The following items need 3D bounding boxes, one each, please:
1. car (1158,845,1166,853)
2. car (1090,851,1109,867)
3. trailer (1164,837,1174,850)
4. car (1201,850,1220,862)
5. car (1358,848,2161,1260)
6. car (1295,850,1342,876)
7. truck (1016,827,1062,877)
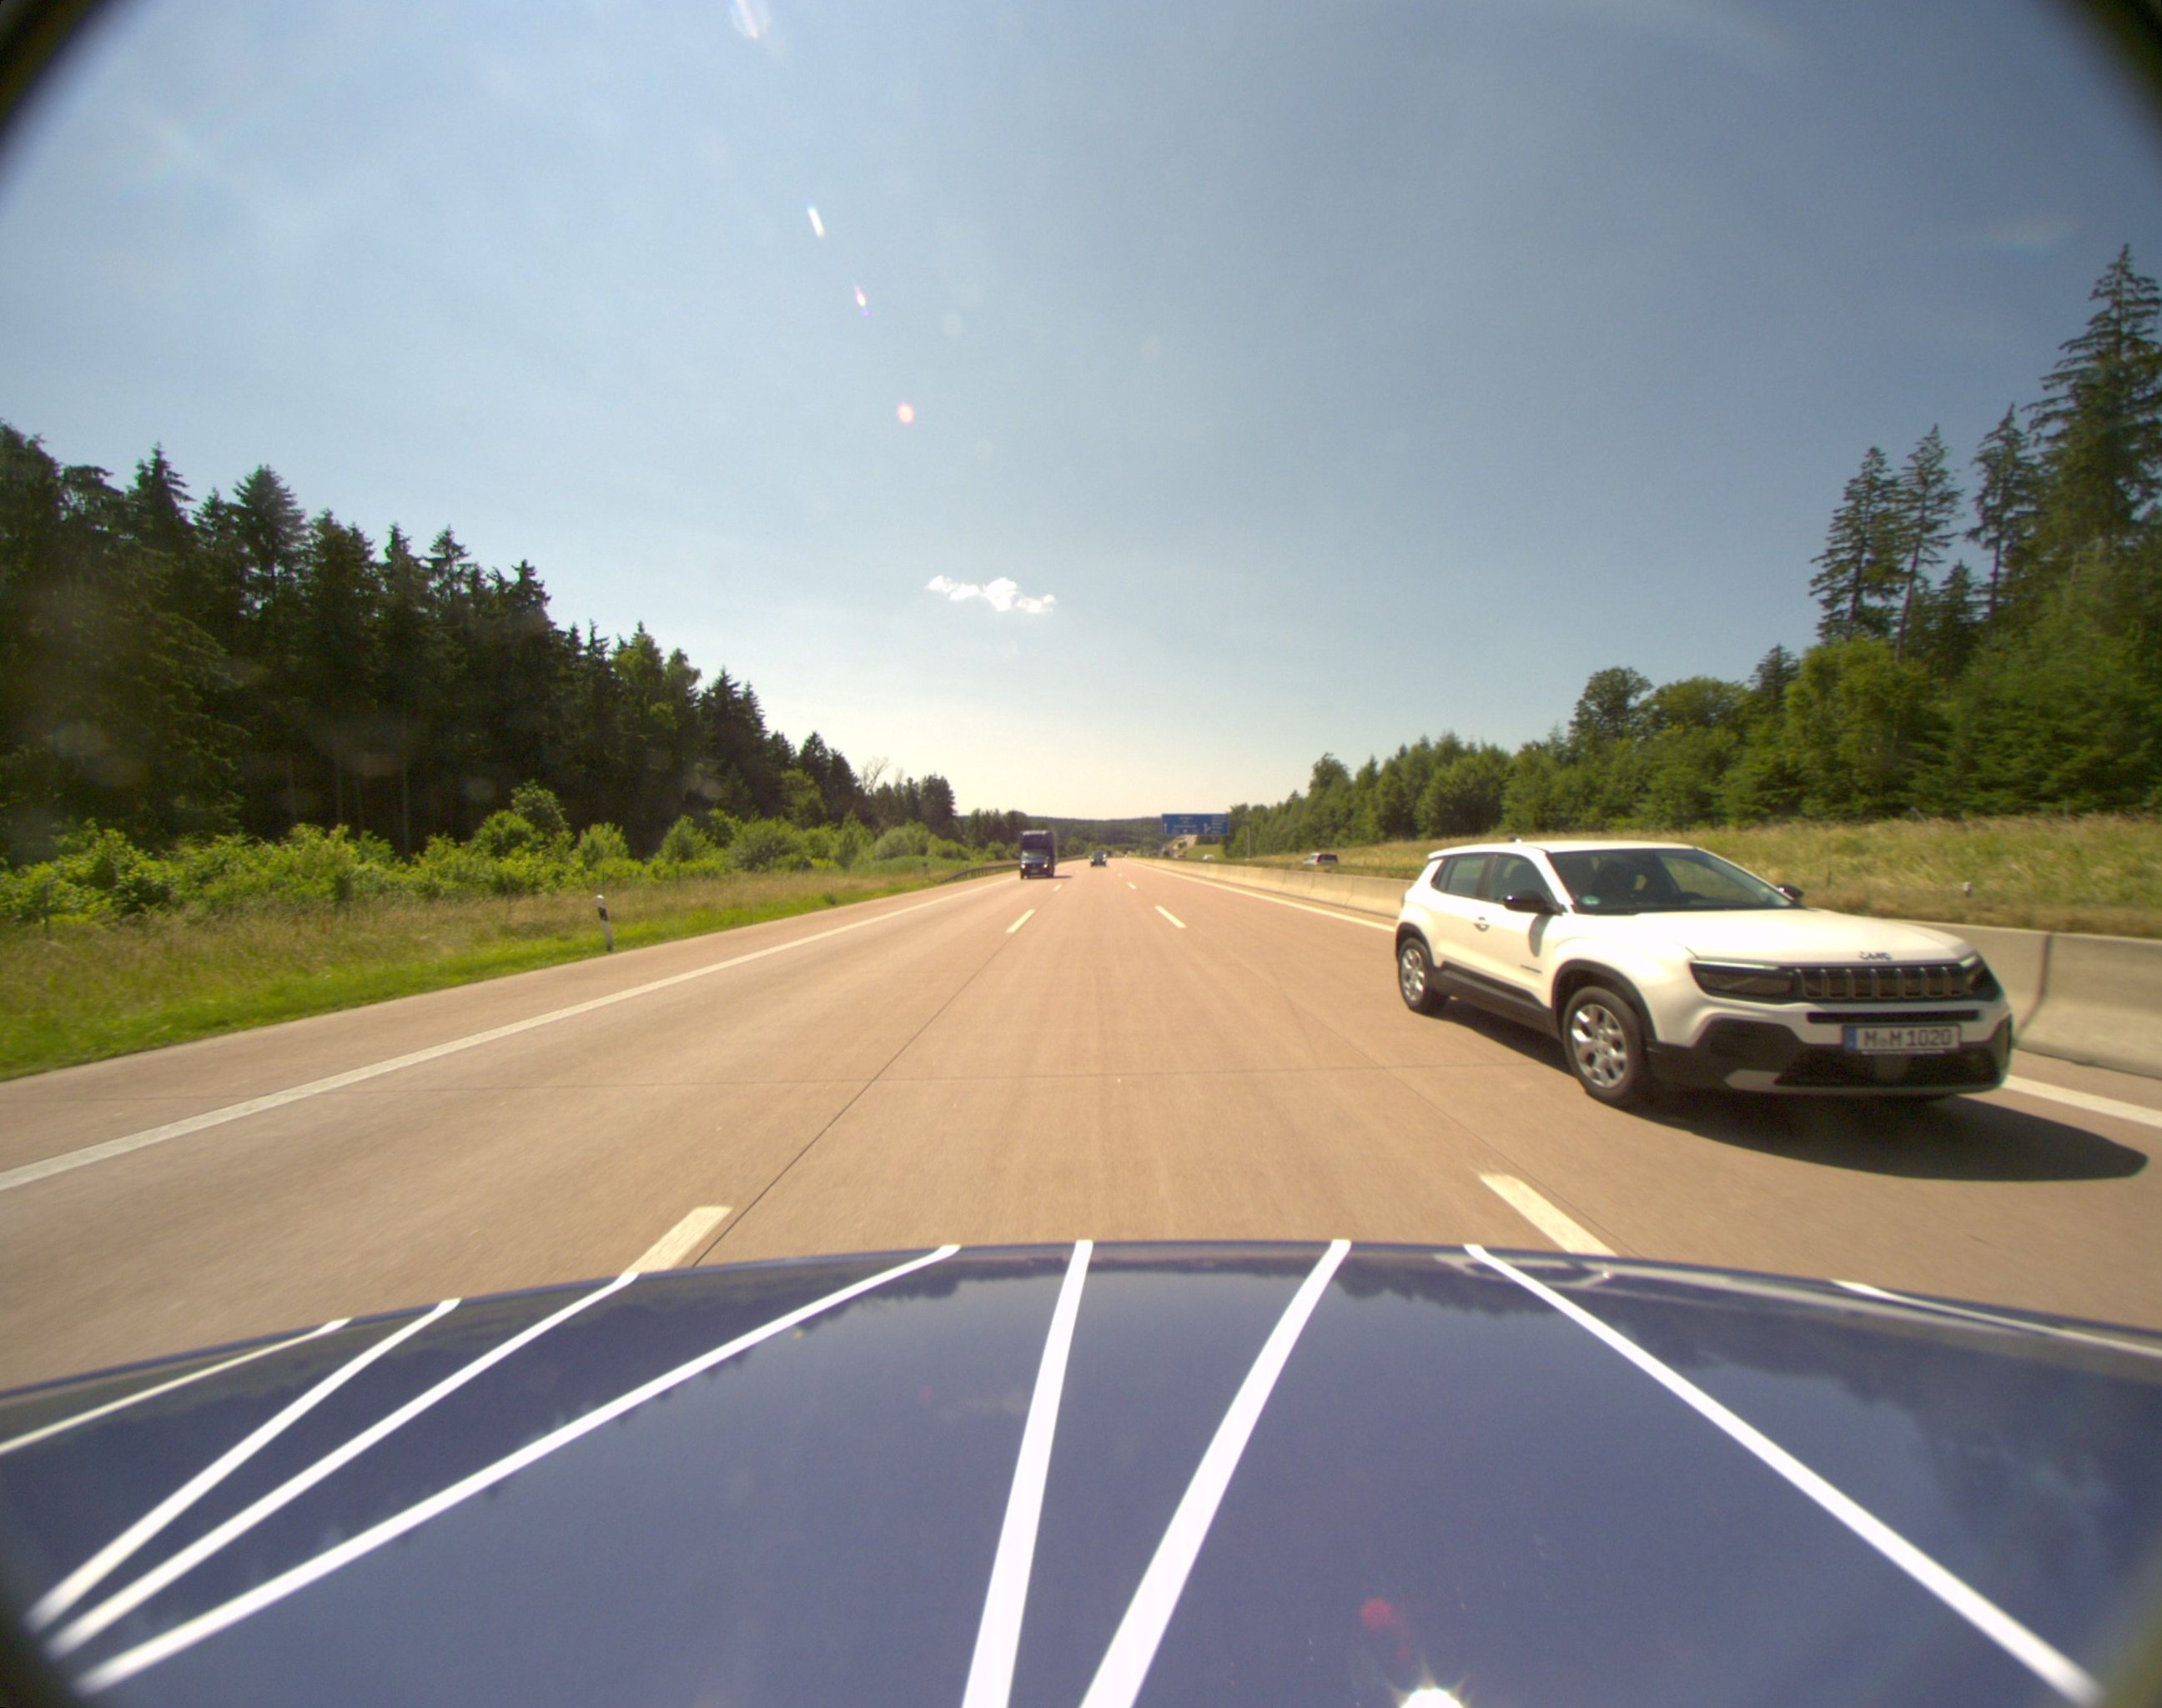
[{"bbox_3d":[26.877,-1.632,252.813,2.238,2.670,6.098,-2,0,1],"label":"car"},{"bbox_3d":[2.211,0.619,90.254,1.998,1.805,4.565,-1,0,3],"label":"car"},{"bbox_3d":[30.975,-3.535,267.180,2.709,4.408,13.194,-1,0,3],"label":"trailer"},{"bbox_3d":[18.061,0.288,105.962,1.895,1.584,4.464,-2,0,1],"label":"car"},{"bbox_3d":[3.790,0.784,5.432,1.883,1.598,4.833,-2,0,1],"label":"car"},{"bbox_3d":[16.789,0.588,53.986,1.896,1.728,4.463,-2,0,0],"label":"car"},{"bbox_3d":[-2.866,-0.142,53.777,2.508,3.199,7.785,-1,0,2],"label":"truck"}]
